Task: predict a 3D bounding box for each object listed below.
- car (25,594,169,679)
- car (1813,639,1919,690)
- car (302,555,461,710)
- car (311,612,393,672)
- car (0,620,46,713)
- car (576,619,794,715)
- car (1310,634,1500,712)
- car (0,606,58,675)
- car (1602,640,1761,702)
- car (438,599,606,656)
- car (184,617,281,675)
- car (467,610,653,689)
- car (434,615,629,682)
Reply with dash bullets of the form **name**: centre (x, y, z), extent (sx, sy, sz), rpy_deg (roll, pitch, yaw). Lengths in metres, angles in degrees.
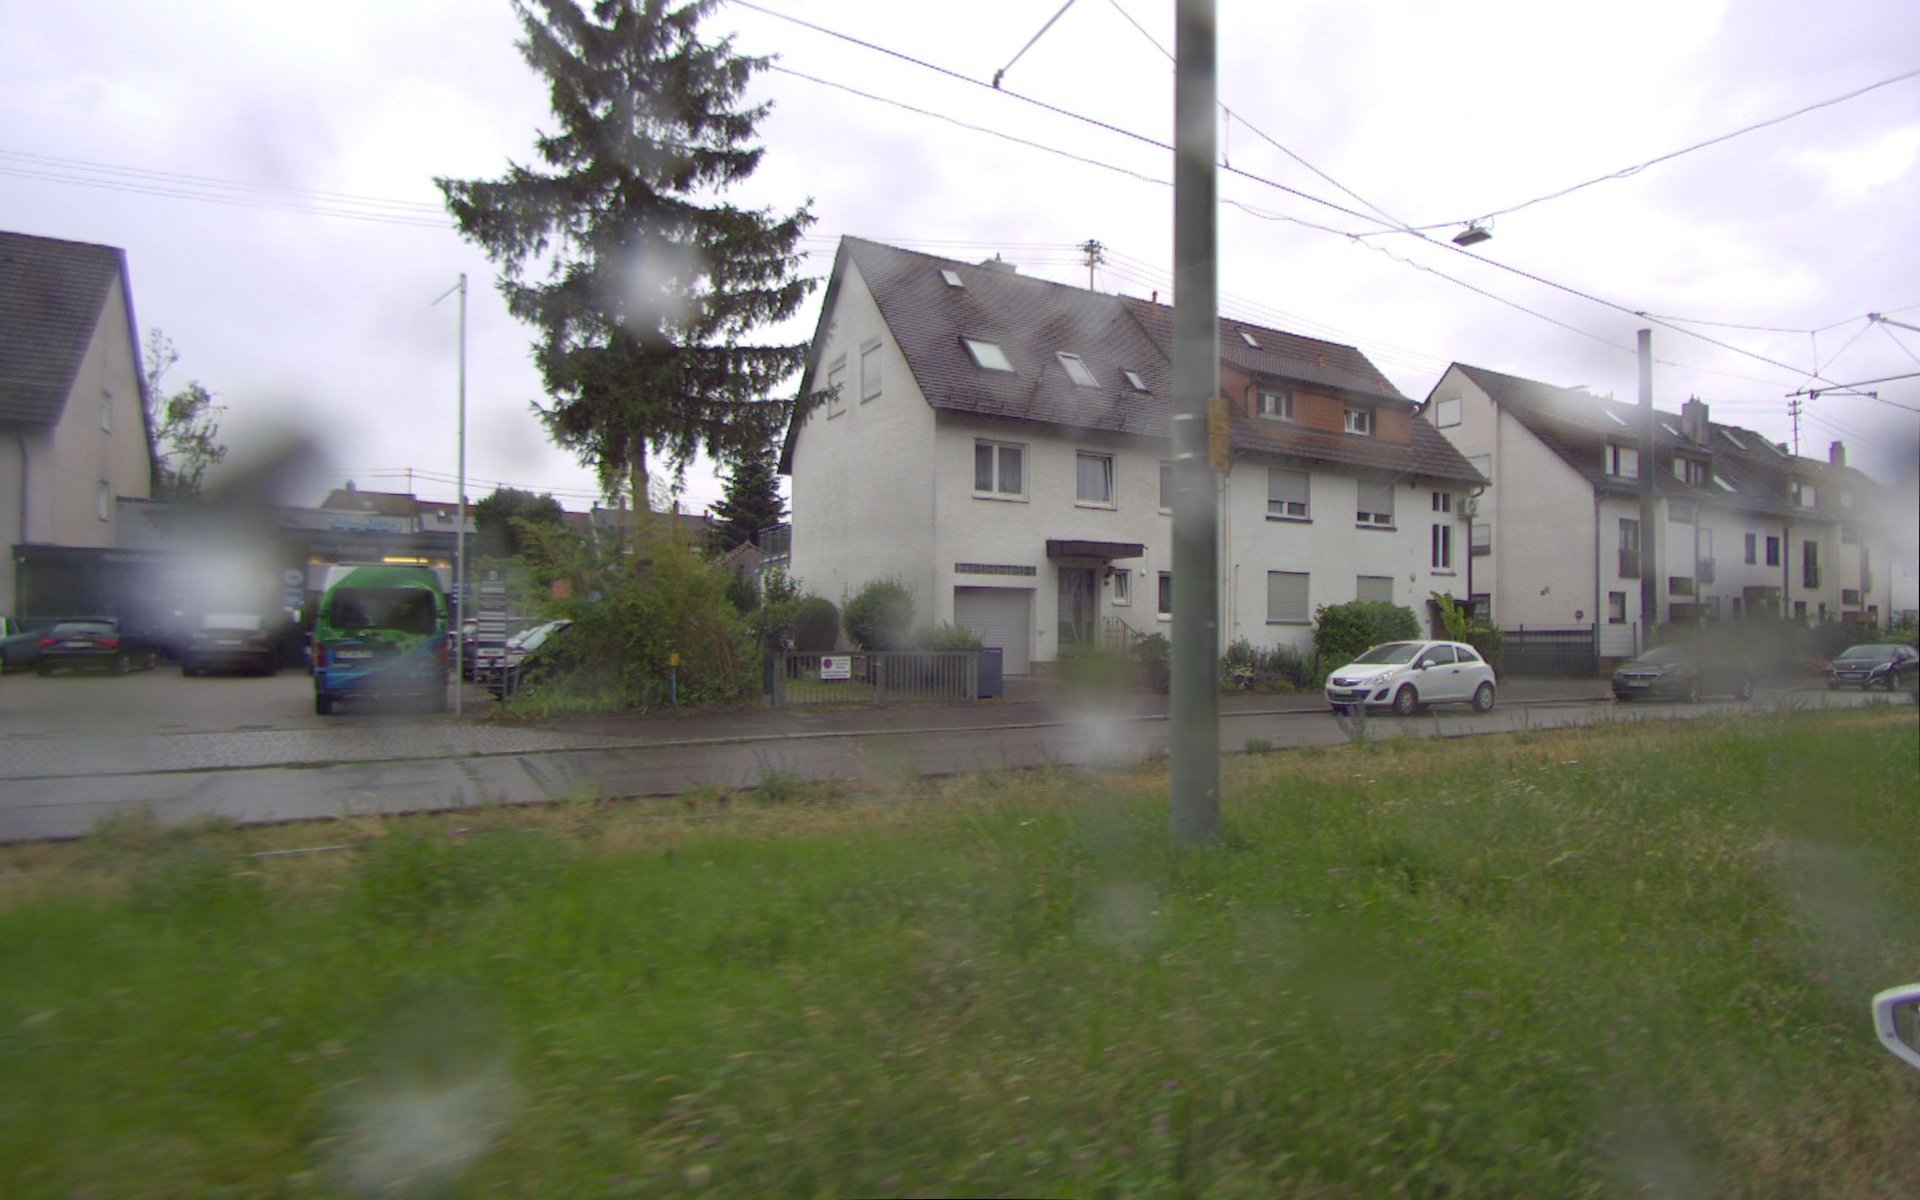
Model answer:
- **car**: centre (-21.646, 0.872, 25.368), extent (1.976, 1.803, 3.578), rpy_deg (4, 1, -29)
- **car**: centre (29.606, 2.103, 32.484), extent (4.085, 1.523, 1.868), rpy_deg (4, -3, -30)
- **car**: centre (-10.655, 0.625, 18.638), extent (2.127, 2.437, 5.109), rpy_deg (4, -3, -29)
- **car**: centre (-17.012, 1.166, 28.103), extent (1.768, 1.517, 3.965), rpy_deg (4, -3, -32)
- **car**: centre (-15.352, 0.978, 14.792), extent (1.700, 1.414, 3.817), rpy_deg (4, -3, -26)
- **car**: centre (-5.521, 1.259, 20.216), extent (3.848, 1.586, 1.984), rpy_deg (-2, 0, -30)
- **car**: centre (9.209, 1.517, 20.714), extent (3.897, 1.442, 1.594), rpy_deg (4, -3, -30)
- **car**: centre (-23.567, 0.918, 24.170), extent (1.978, 1.585, 3.862), rpy_deg (3, -2, -31)
- **car**: centre (18.828, 1.857, 26.162), extent (4.612, 1.442, 1.594), rpy_deg (4, -3, -30)
- **car**: centre (-13.383, 0.881, 30.925), extent (1.766, 1.601, 4.428), rpy_deg (-2, -3, 38)
- **car**: centre (-19.000, 1.187, 26.375), extent (1.741, 1.349, 3.965), rpy_deg (4, -3, -32)
- **car**: centre (-9.538, 1.123, 23.959), extent (3.848, 1.586, 1.984), rpy_deg (-2, 0, -30)
- **car**: centre (-11.106, 1.247, 26.307), extent (1.837, 1.601, 4.381), rpy_deg (-2, -3, 38)
